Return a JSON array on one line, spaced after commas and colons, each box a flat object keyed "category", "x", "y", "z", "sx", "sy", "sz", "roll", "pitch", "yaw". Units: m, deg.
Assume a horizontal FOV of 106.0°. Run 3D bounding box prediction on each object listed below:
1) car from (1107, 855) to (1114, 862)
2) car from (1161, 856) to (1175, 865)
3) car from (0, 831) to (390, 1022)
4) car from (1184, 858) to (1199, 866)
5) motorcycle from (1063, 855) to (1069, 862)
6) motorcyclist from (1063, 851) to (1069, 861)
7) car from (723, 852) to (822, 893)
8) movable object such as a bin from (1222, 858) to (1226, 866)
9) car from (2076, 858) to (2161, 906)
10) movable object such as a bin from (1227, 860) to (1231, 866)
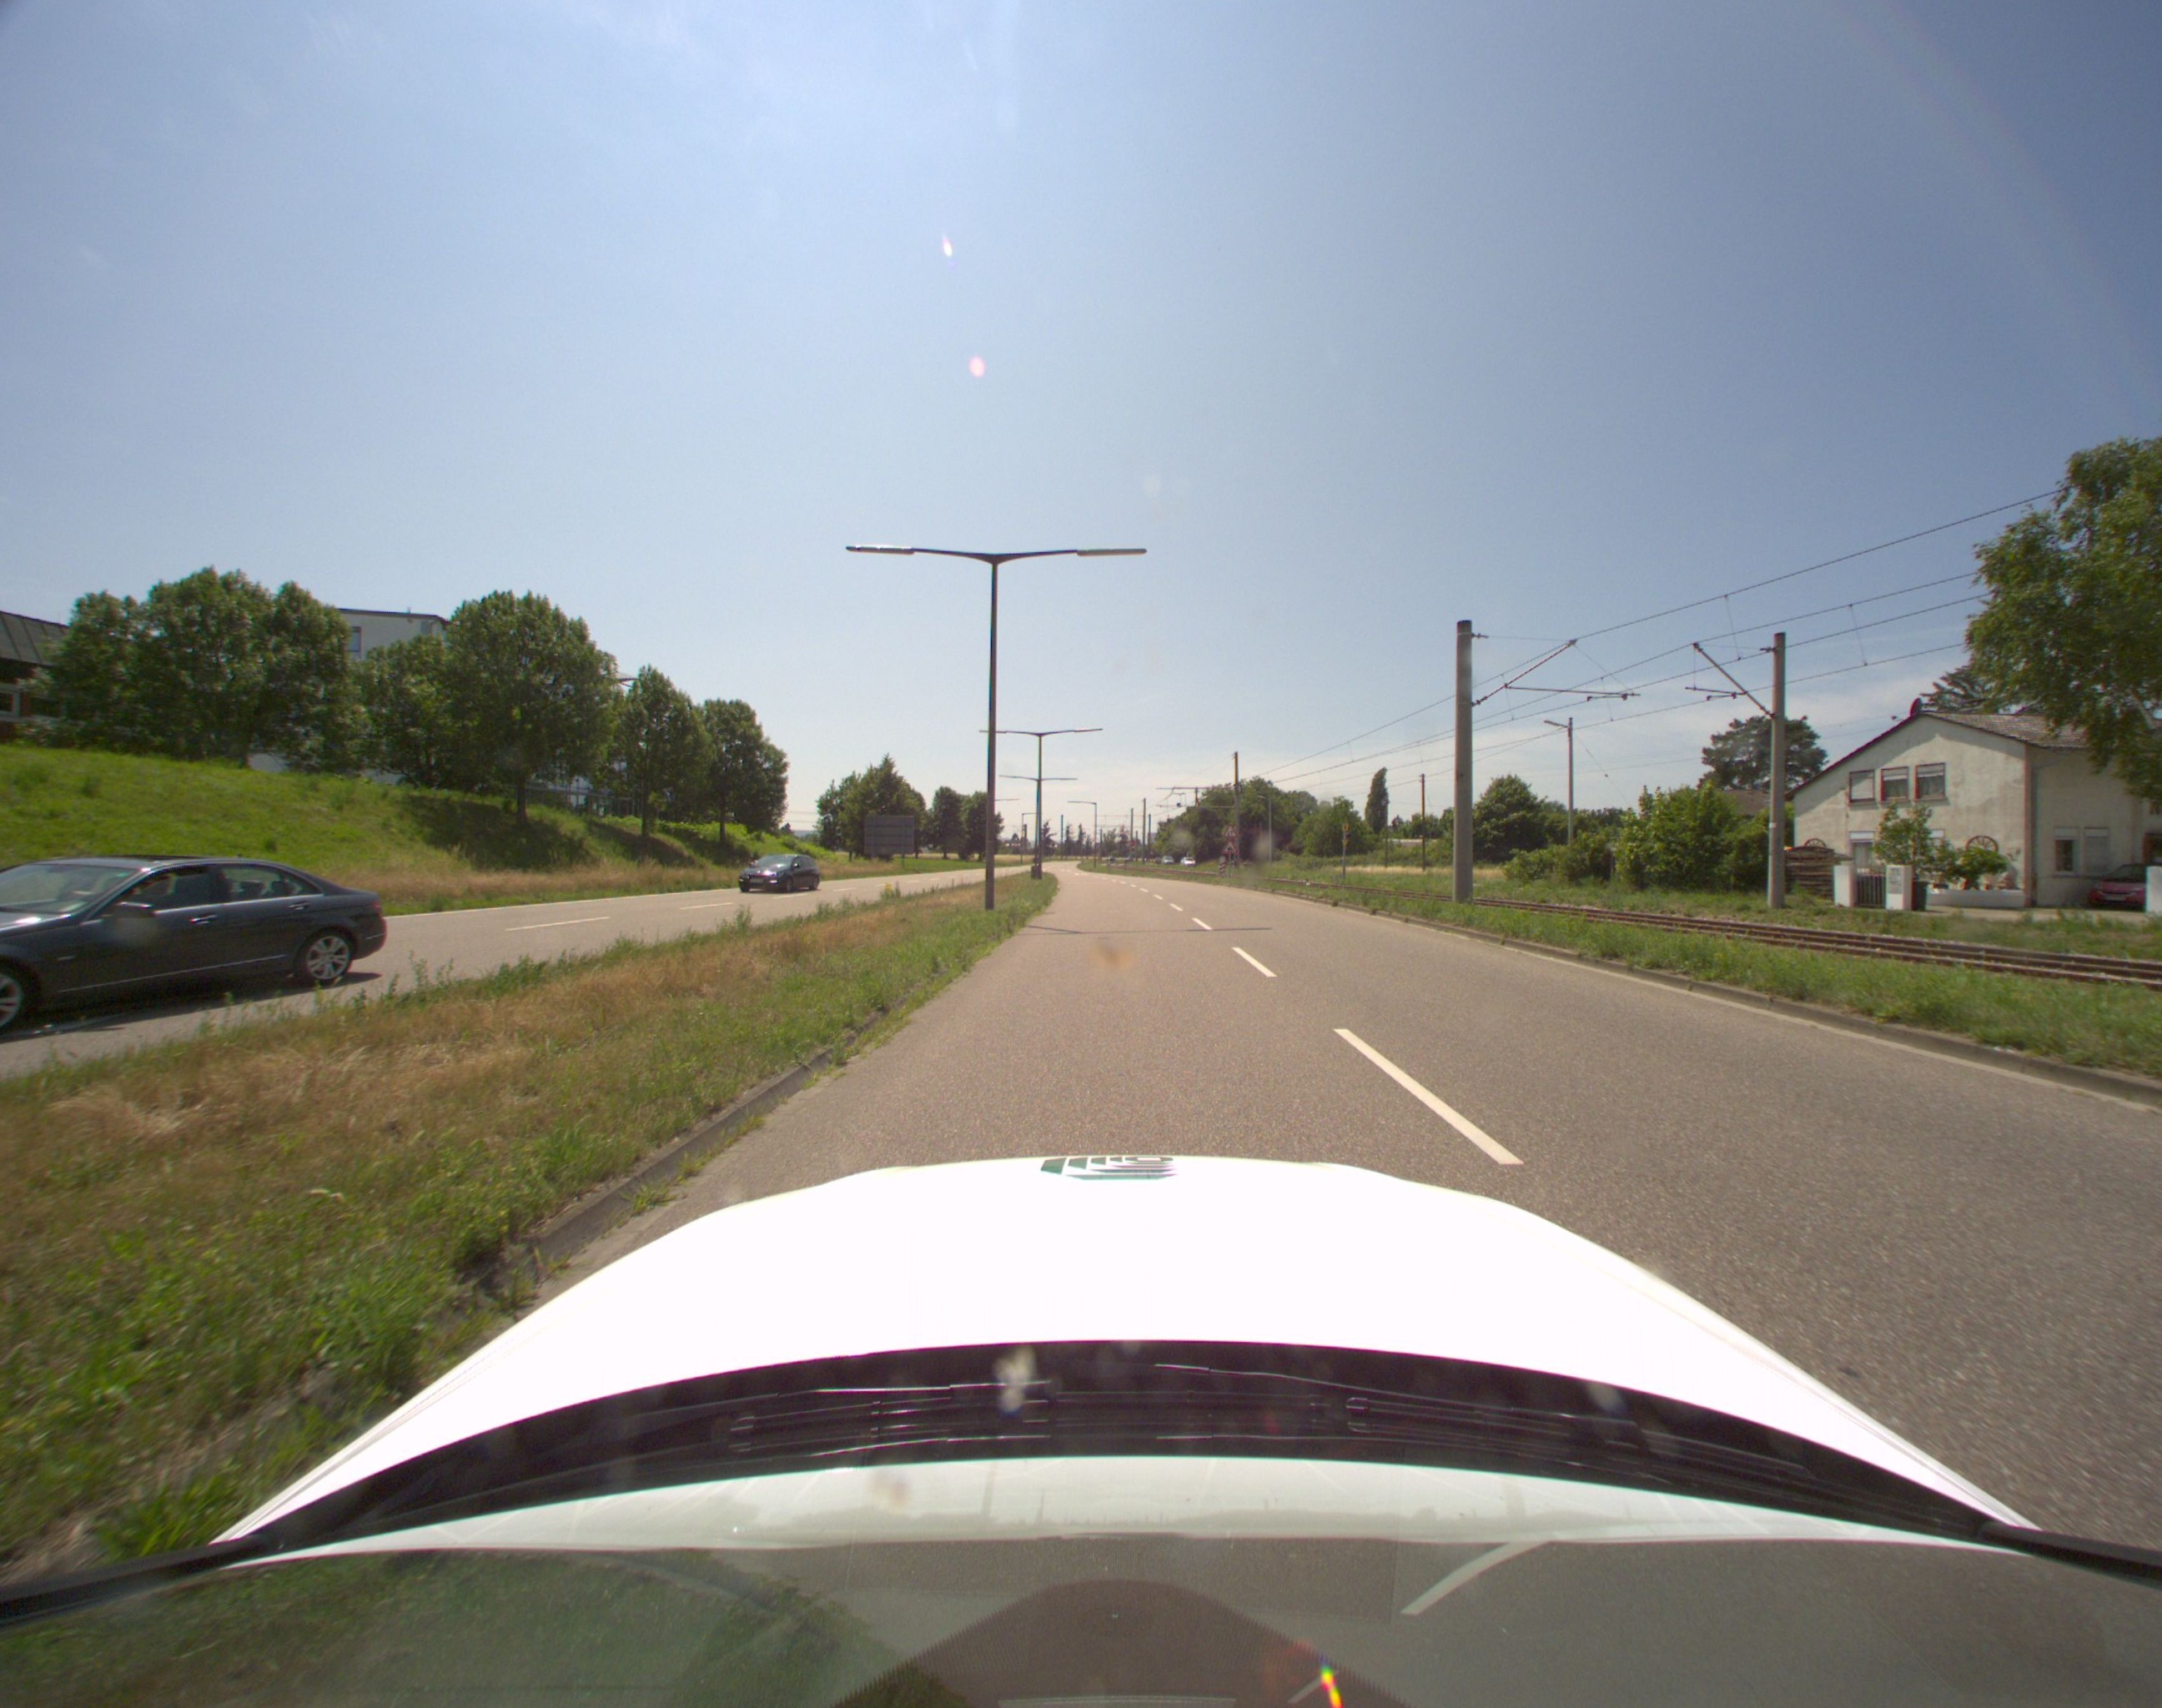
[{"category": "car", "x": 8.350, "y": 1.349, "z": 231.254, "sx": 1.393, "sy": 1.772, "sz": 3.266, "roll": 2, "pitch": -1, "yaw": 14}, {"category": "car", "x": 14.744, "y": 1.118, "z": 138.376, "sx": 1.668, "sy": 1.397, "sz": 3.646, "roll": 2, "pitch": -1, "yaw": -3}, {"category": "car", "x": -9.212, "y": 0.553, "z": 7.764, "sx": 1.685, "sy": 1.492, "sz": 4.003, "roll": 1, "pitch": 0, "yaw": 2}, {"category": "car", "x": 15.543, "y": 1.130, "z": 114.804, "sx": 1.560, "sy": 1.179, "sz": 3.074, "roll": 0, "pitch": 0, "yaw": -5}, {"category": "motorcycle", "x": -3.588, "y": 1.075, "z": 192.748, "sx": 0.985, "sy": 1.581, "sz": 3.404, "roll": 2, "pitch": -1, "yaw": 4}, {"category": "motorcyclist", "x": -3.538, "y": 0.409, "z": 192.874, "sx": 1.225, "sy": 2.351, "sz": 1.107, "roll": 2, "pitch": -1, "yaw": 4}, {"category": "car", "x": -11.576, "y": 0.655, "z": 30.906, "sx": 1.988, "sy": 1.360, "sz": 4.663, "roll": 2, "pitch": 0, "yaw": -1}, {"category": "movable object such as a bin", "x": 19.024, "y": 1.079, "z": 108.221, "sx": 0.522, "sy": 1.050, "sz": 0.500, "roll": 0, "pitch": 0, "yaw": 8}, {"category": "car", "x": 35.246, "y": 0.900, "z": 26.817, "sx": 3.432, "sy": 1.510, "sz": 1.678, "roll": 1, "pitch": 0, "yaw": -9}, {"category": "movable object such as a bin", "x": 19.693, "y": 1.201, "z": 108.139, "sx": 0.522, "sy": 0.864, "sz": 0.500, "roll": 0, "pitch": 0, "yaw": 8}]
